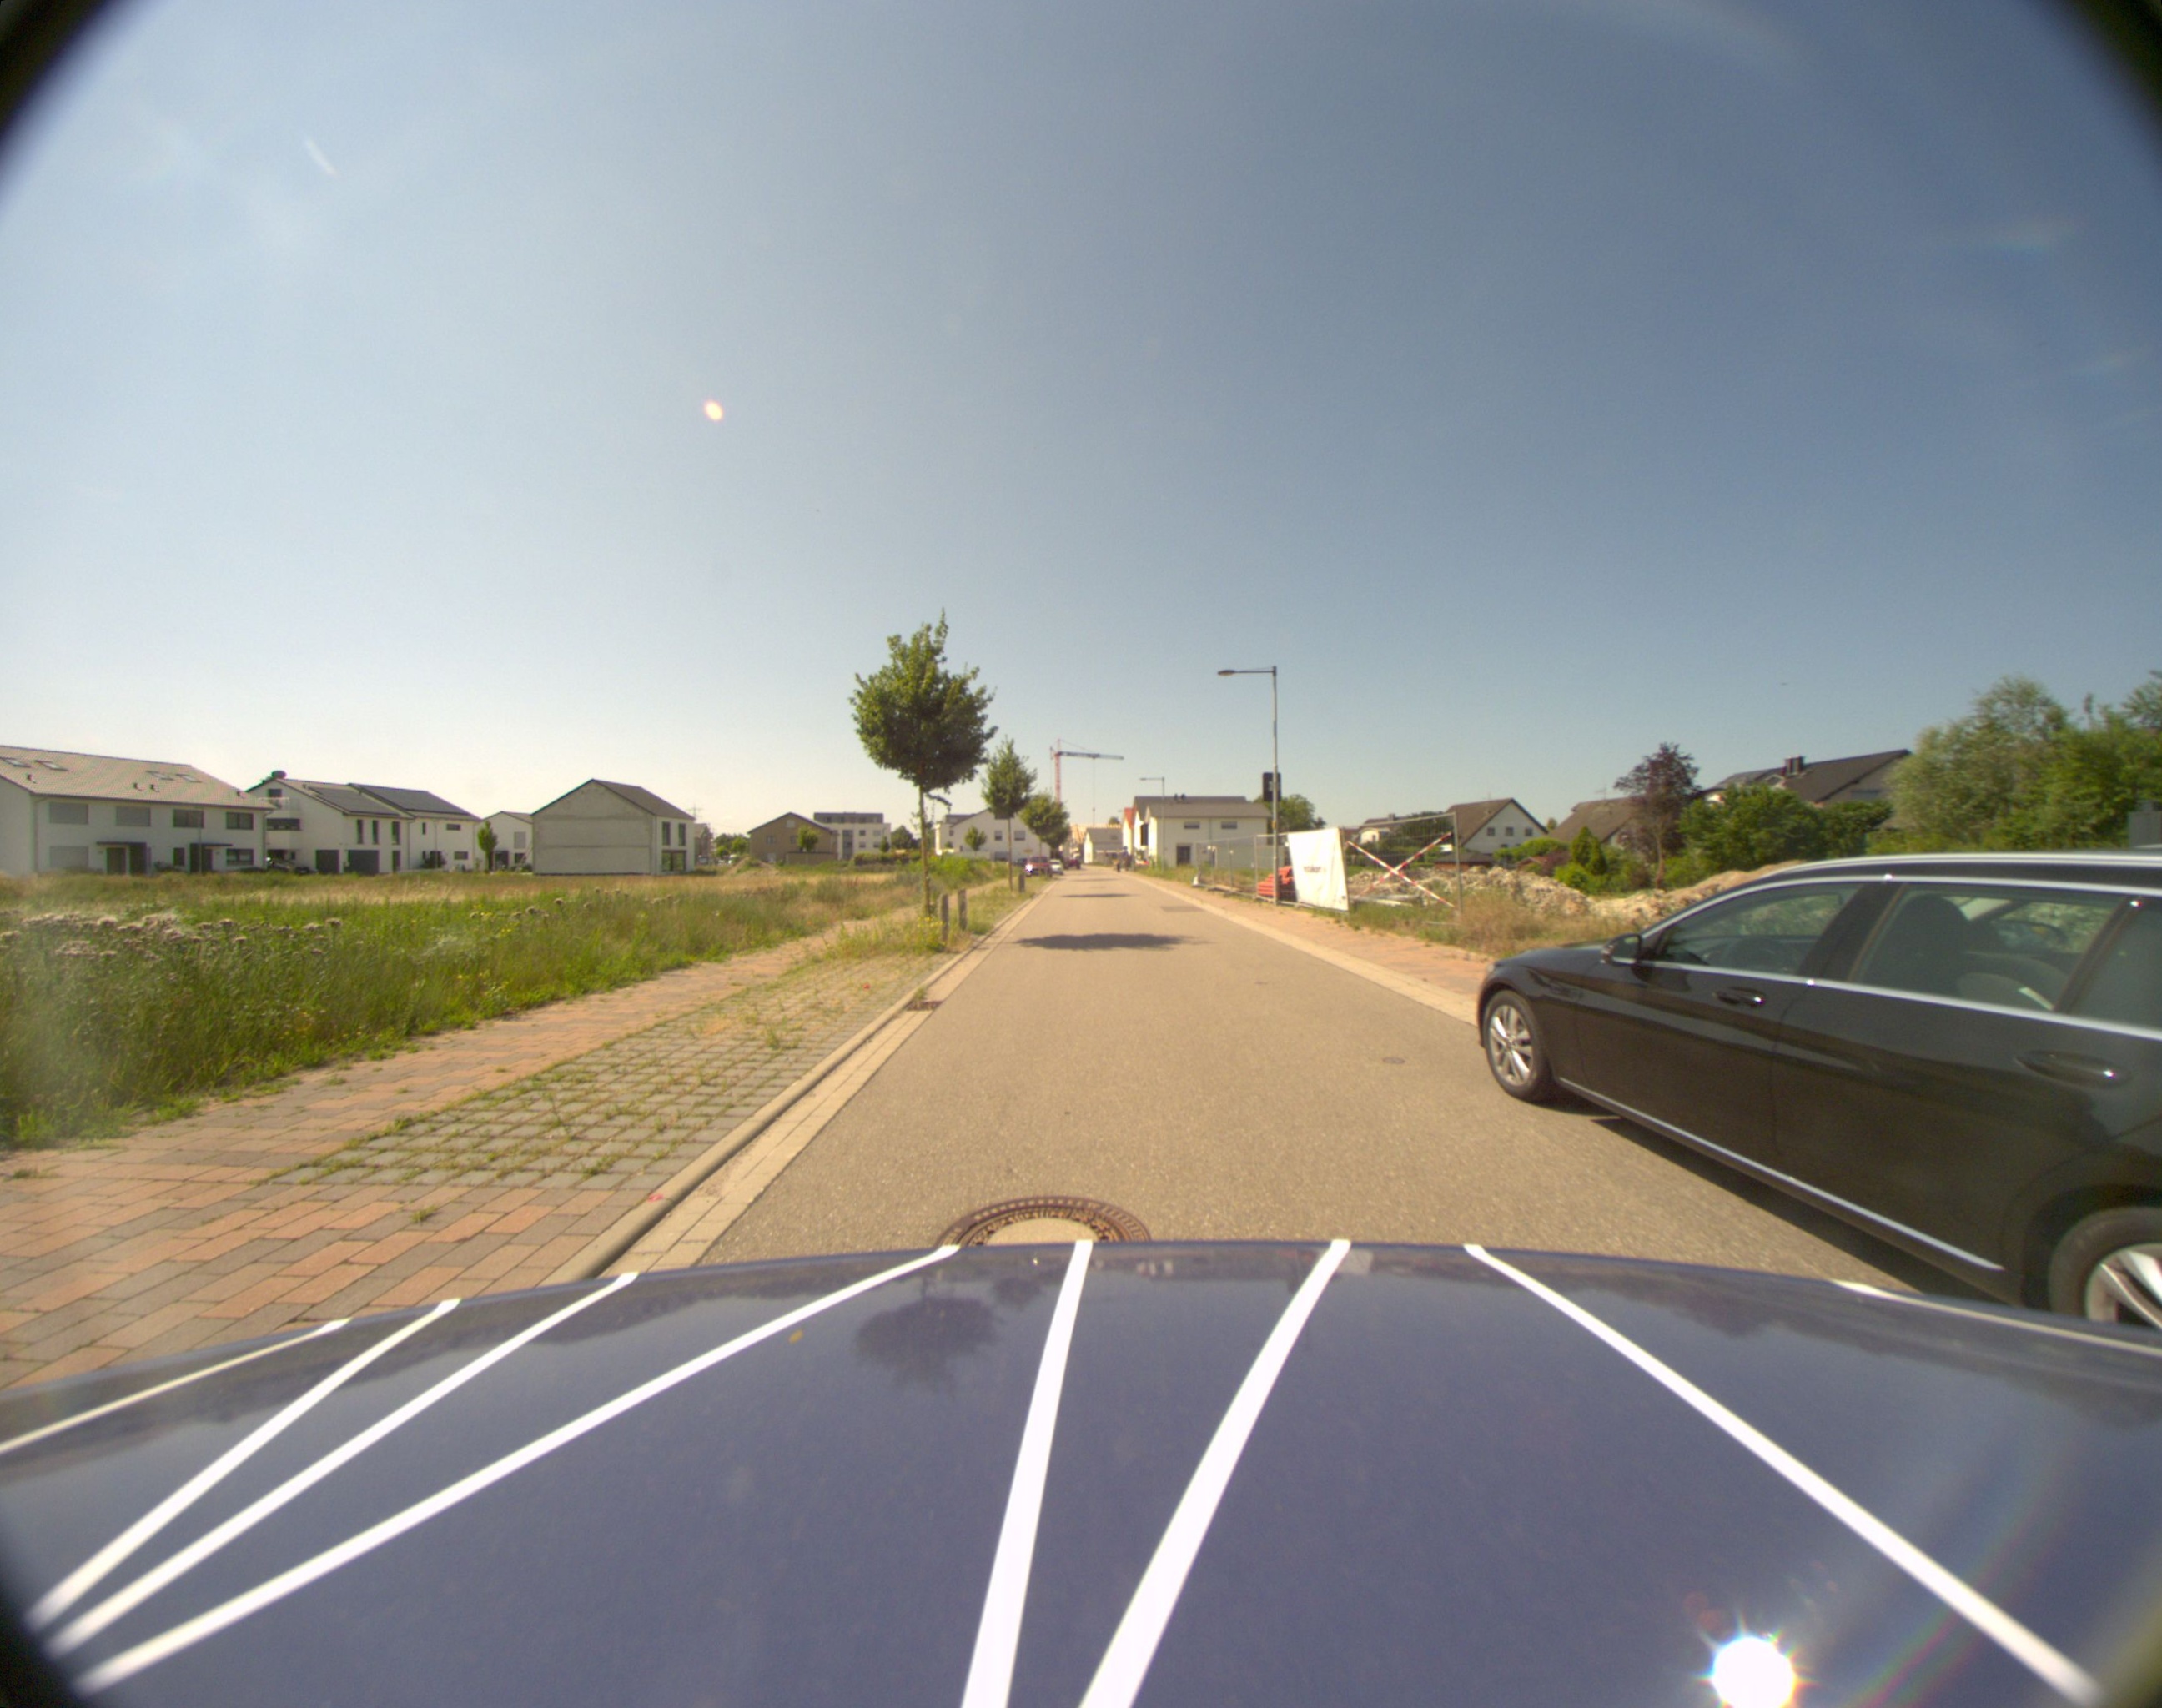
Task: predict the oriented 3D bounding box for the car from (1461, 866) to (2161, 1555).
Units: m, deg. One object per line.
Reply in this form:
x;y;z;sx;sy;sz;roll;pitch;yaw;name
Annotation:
3.307;0.844;2.687;1.695;1.464;4.445;-2;0;0;car

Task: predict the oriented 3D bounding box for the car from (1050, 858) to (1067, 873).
-2.184;1.090;74.021;1.493;1.389;3.272;-1;0;0;car

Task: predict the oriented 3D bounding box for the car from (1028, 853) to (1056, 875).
-2.768;0.714;54.200;1.769;1.483;4.000;-1;0;0;car

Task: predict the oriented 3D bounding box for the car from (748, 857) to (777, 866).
-51.634;1.233;123.286;4.000;1.444;1.633;-1;0;-8;car
